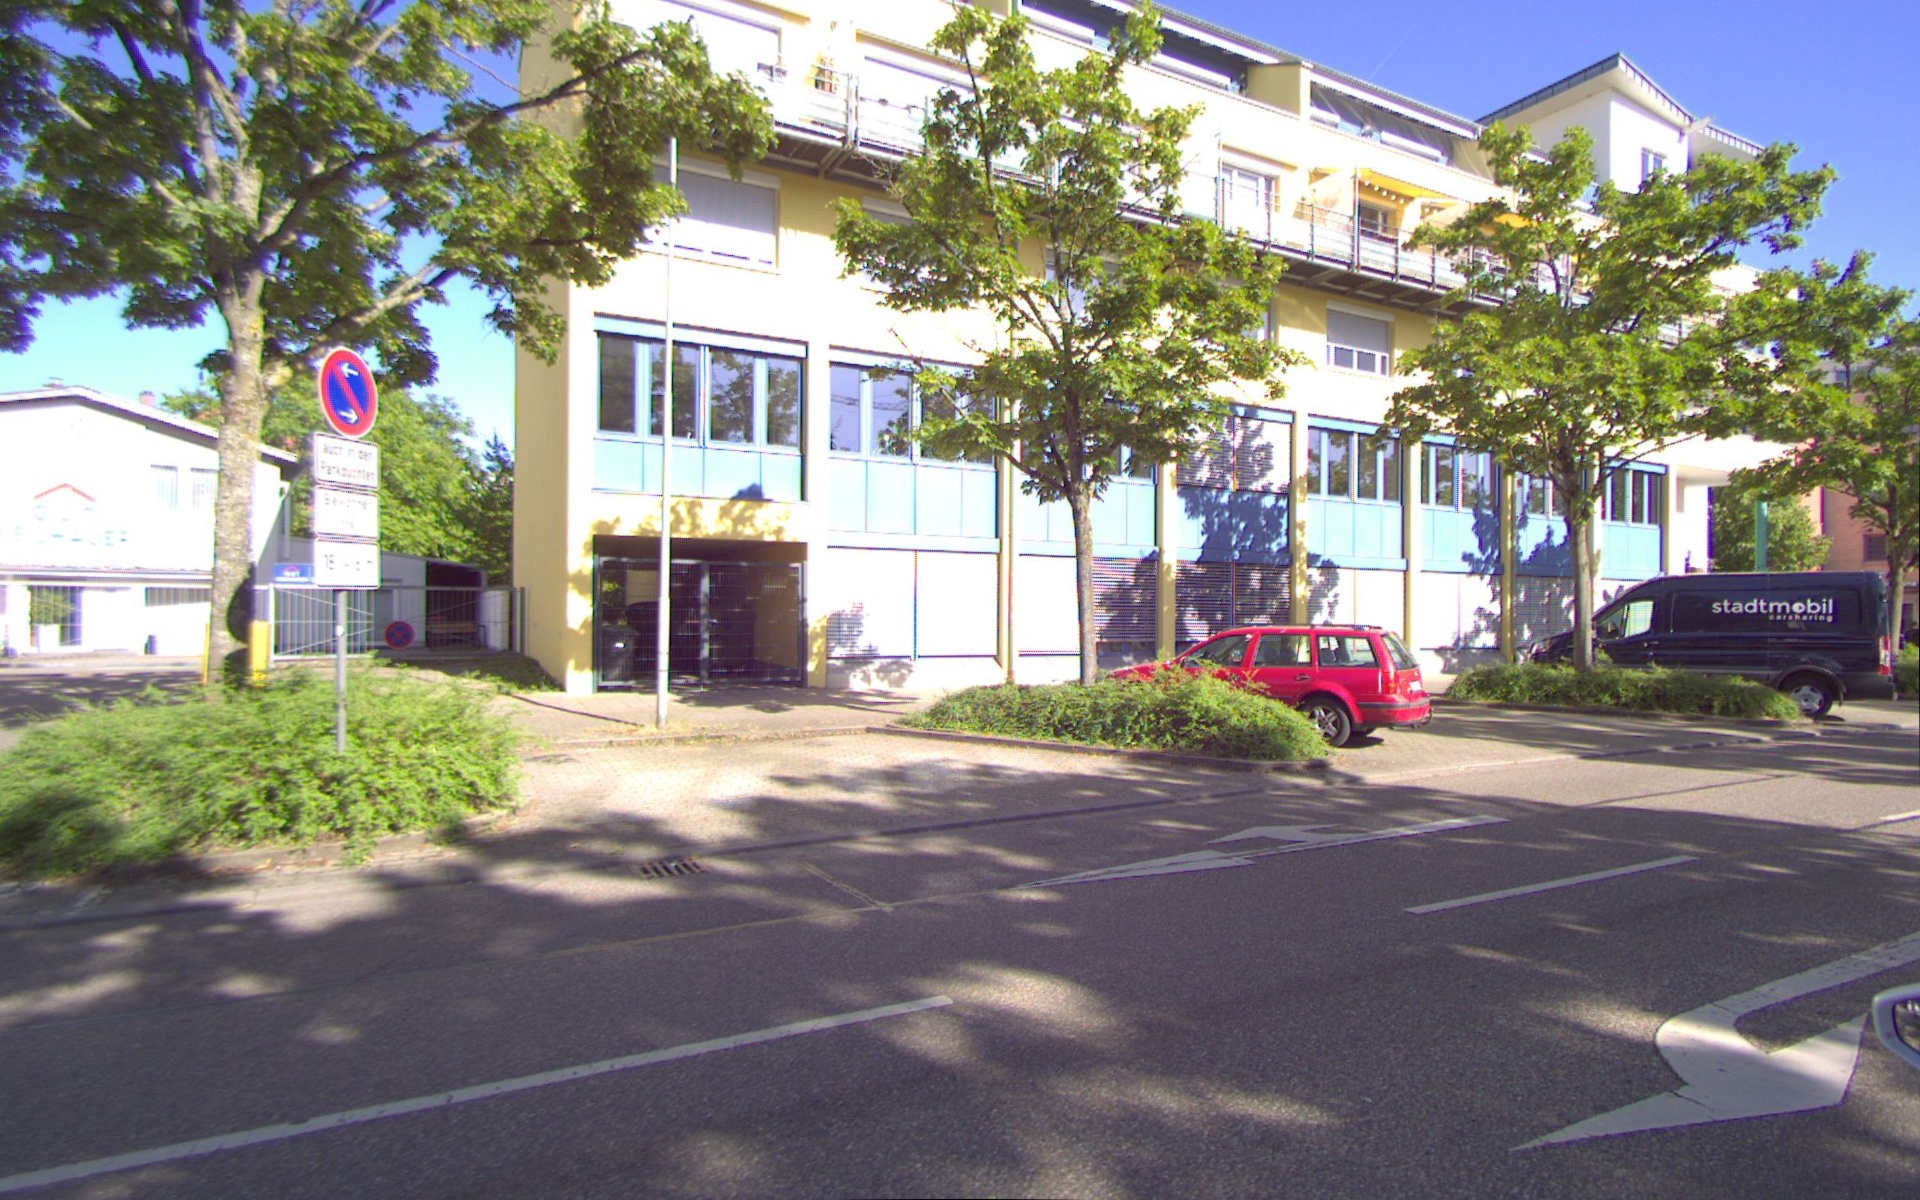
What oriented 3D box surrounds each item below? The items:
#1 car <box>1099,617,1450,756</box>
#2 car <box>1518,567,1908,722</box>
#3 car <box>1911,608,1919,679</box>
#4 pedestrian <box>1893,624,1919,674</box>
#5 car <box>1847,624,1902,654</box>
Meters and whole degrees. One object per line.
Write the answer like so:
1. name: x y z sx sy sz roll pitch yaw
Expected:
1. car: 4.136 1.032 13.493 4.165 1.495 1.764 1 0 36
2. car: 13.462 0.689 18.426 5.415 2.469 2.179 1 0 36
3. car: 29.127 1.248 27.053 4.681 2.012 1.998 1 0 26
4. pedestrian: 33.534 1.725 35.469 1.012 1.748 0.652 1 -2 -37
5. car: 46.331 1.946 50.944 1.712 1.462 4.115 -2 -2 38
